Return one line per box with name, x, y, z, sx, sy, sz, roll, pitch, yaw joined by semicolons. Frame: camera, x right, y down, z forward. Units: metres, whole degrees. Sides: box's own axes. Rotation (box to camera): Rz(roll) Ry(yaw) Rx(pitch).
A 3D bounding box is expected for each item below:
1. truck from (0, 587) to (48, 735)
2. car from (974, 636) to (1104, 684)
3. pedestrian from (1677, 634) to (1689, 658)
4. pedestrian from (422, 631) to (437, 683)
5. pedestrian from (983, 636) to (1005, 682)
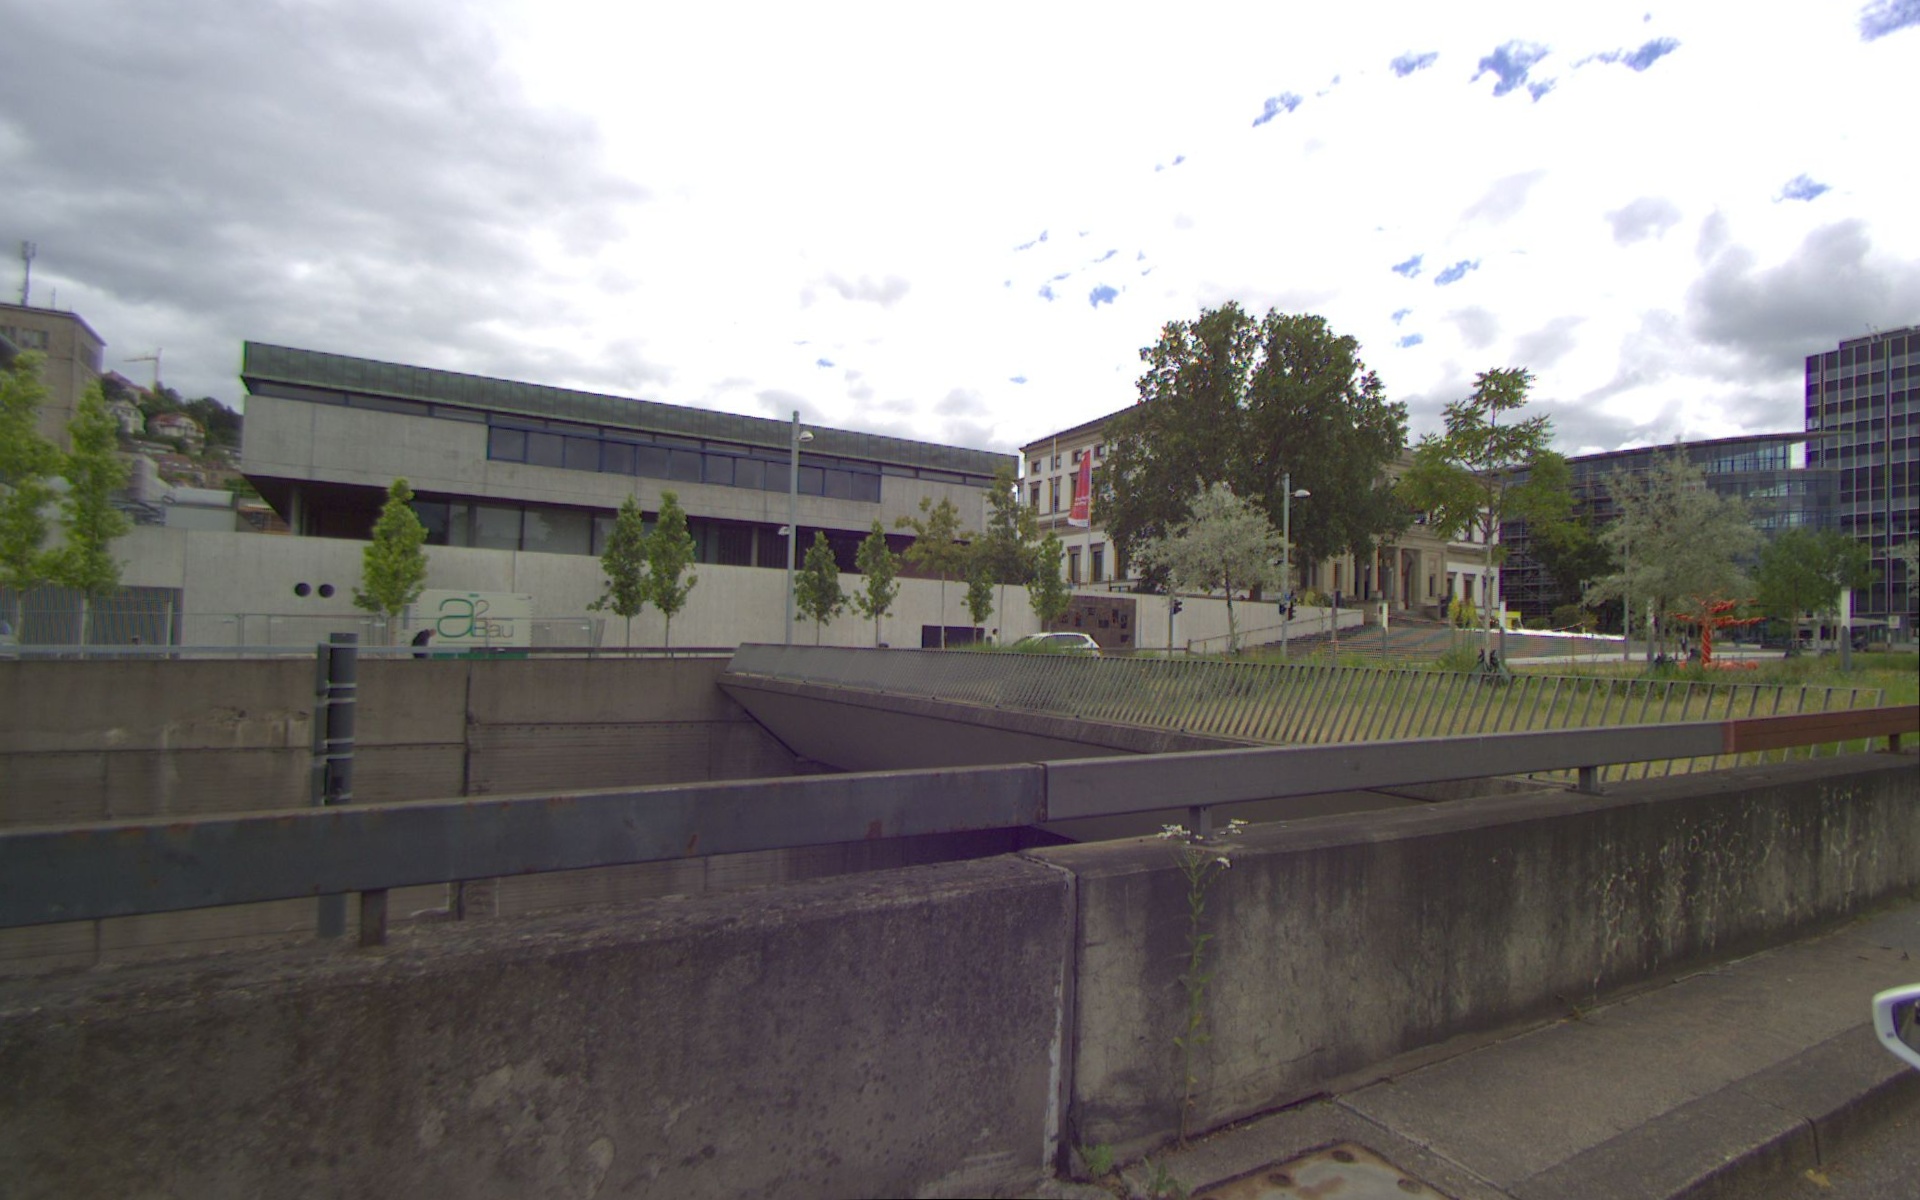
truck;-22.106;1.145;18.799;6.991;2.854;2.453;1;-1;-29
car;2.914;2.145;36.695;4.556;1.595;1.711;1;-1;-29
pedestrian;51.920;3.293;72.126;0.643;1.671;0.521;2;-1;-31
pedestrian;-16.072;1.726;30.416;0.314;1.542;0.315;2;-1;-36
pedestrian;1.330;2.290;39.297;0.655;1.756;0.537;1;-1;-30
